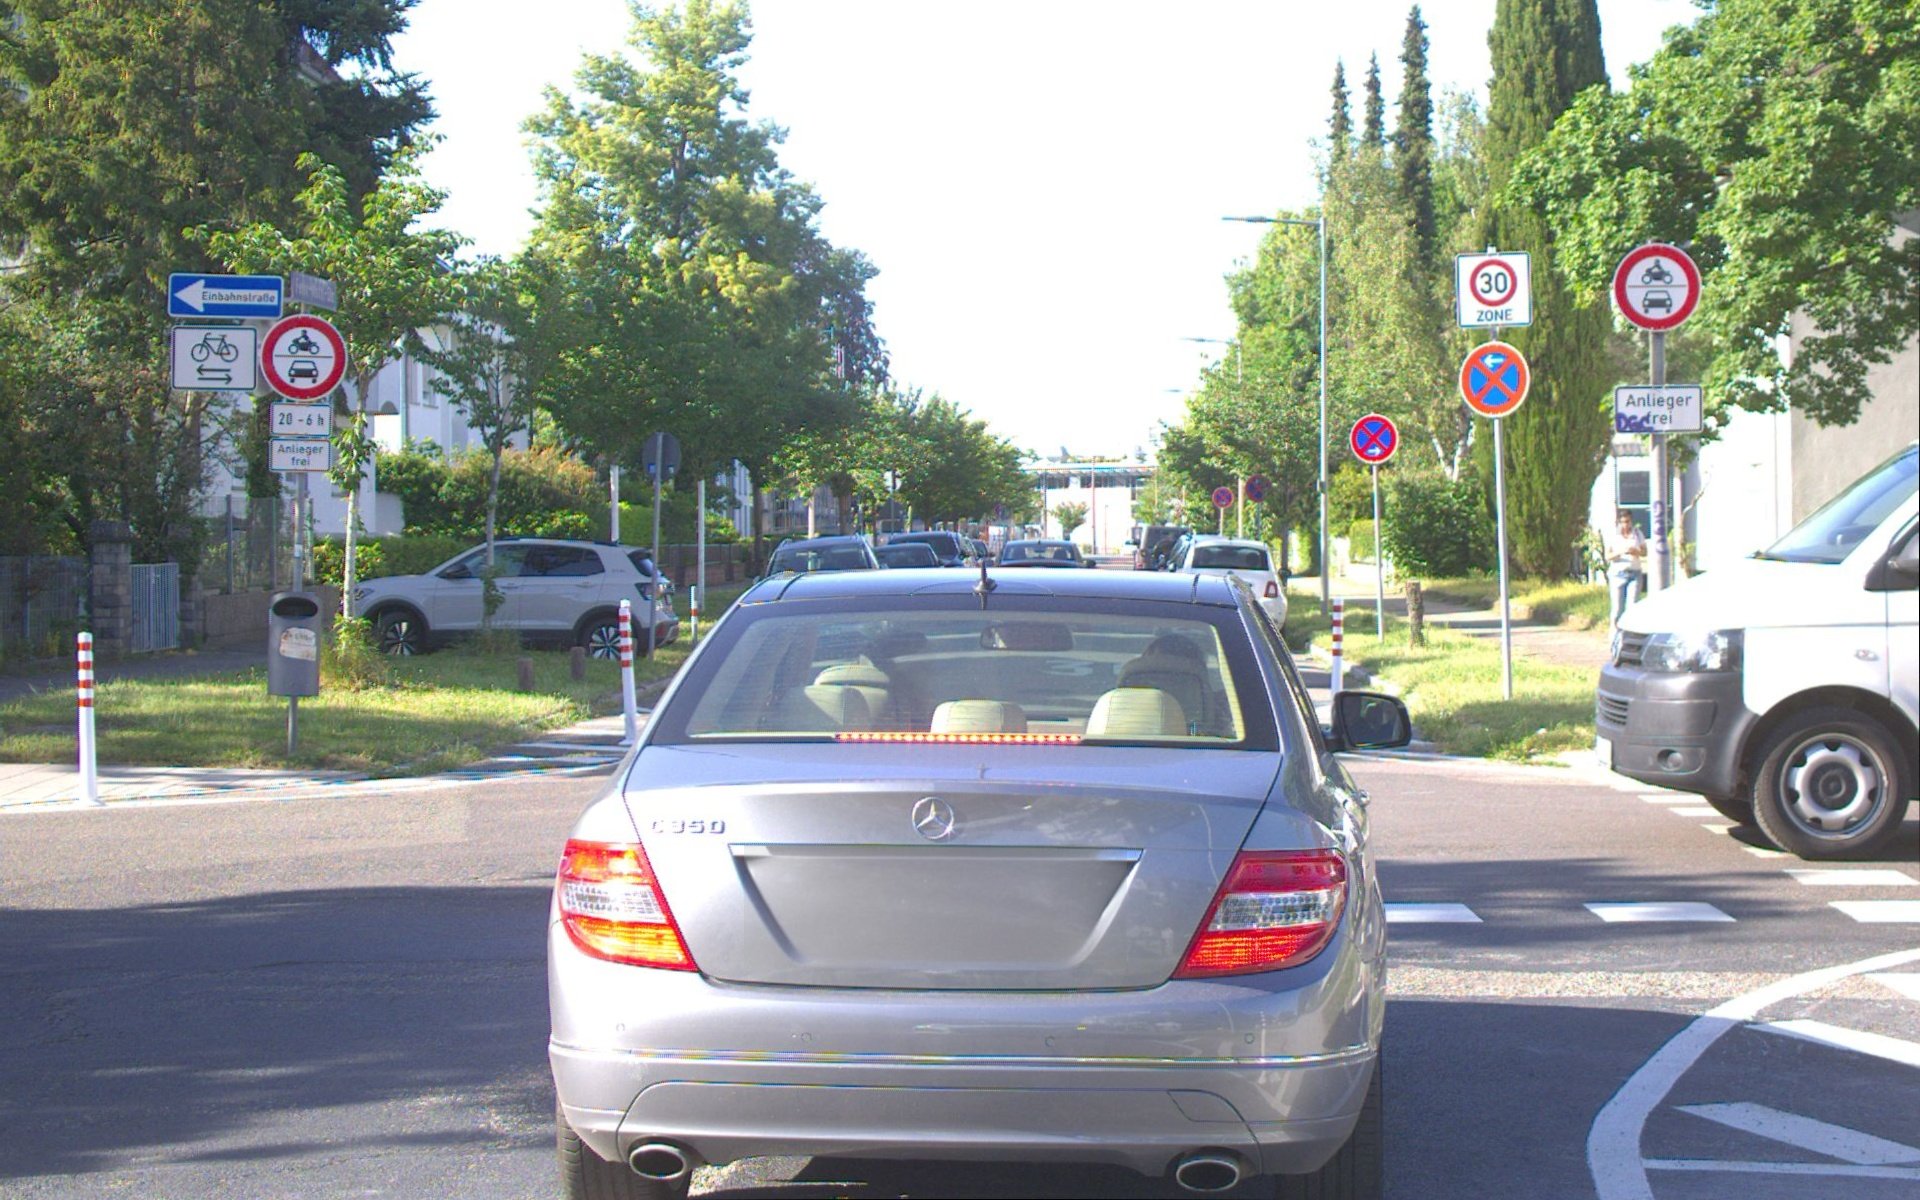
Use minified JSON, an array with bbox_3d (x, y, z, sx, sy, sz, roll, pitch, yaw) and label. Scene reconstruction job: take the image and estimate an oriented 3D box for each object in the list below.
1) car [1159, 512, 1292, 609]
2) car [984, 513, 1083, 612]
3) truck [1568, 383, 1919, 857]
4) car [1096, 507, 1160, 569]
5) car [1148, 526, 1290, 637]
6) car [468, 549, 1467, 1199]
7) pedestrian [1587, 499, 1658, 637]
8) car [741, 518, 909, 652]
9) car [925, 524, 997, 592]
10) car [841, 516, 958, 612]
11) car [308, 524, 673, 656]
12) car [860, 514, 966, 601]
[{"bbox_3d":[4.560,-0.708,59.571,1.993,1.604,4.000,-1,1,0],"label":"car"},{"bbox_3d":[1.212,-0.663,58.142,1.597,1.604,3.644,-1,1,0],"label":"car"},{"bbox_3d":[5.378,0.037,15.757,4.858,2.029,2.000,-1,1,3],"label":"truck"},{"bbox_3d":[5.090,-1.905,104.550,1.855,1.834,4.000,-1,1,2],"label":"car"},{"bbox_3d":[3.637,-0.295,48.817,1.733,1.474,3.725,-1,1,0],"label":"car"},{"bbox_3d":[0.124,0.610,8.315,1.836,1.436,4.000,0,1,3],"label":"car"},{"bbox_3d":[7.850,-0.382,40.757,0.766,1.605,0.834,-1,1,7],"label":"pedestrian"},{"bbox_3d":[-1.785,-0.246,46.750,1.993,1.604,4.000,-4,1,0],"label":"car"},{"bbox_3d":[0.035,-1.108,89.718,1.734,1.604,3.935,-4,1,0],"label":"car"},{"bbox_3d":[-1.095,-0.698,64.542,1.993,1.604,4.000,-4,1,0],"label":"car"},{"bbox_3d":[-5.652,-0.136,41.765,4.192,1.558,1.842,0,1,0],"label":"car"},{"bbox_3d":[-0.927,-0.891,70.331,1.993,1.604,4.000,-4,1,0],"label":"car"}]
